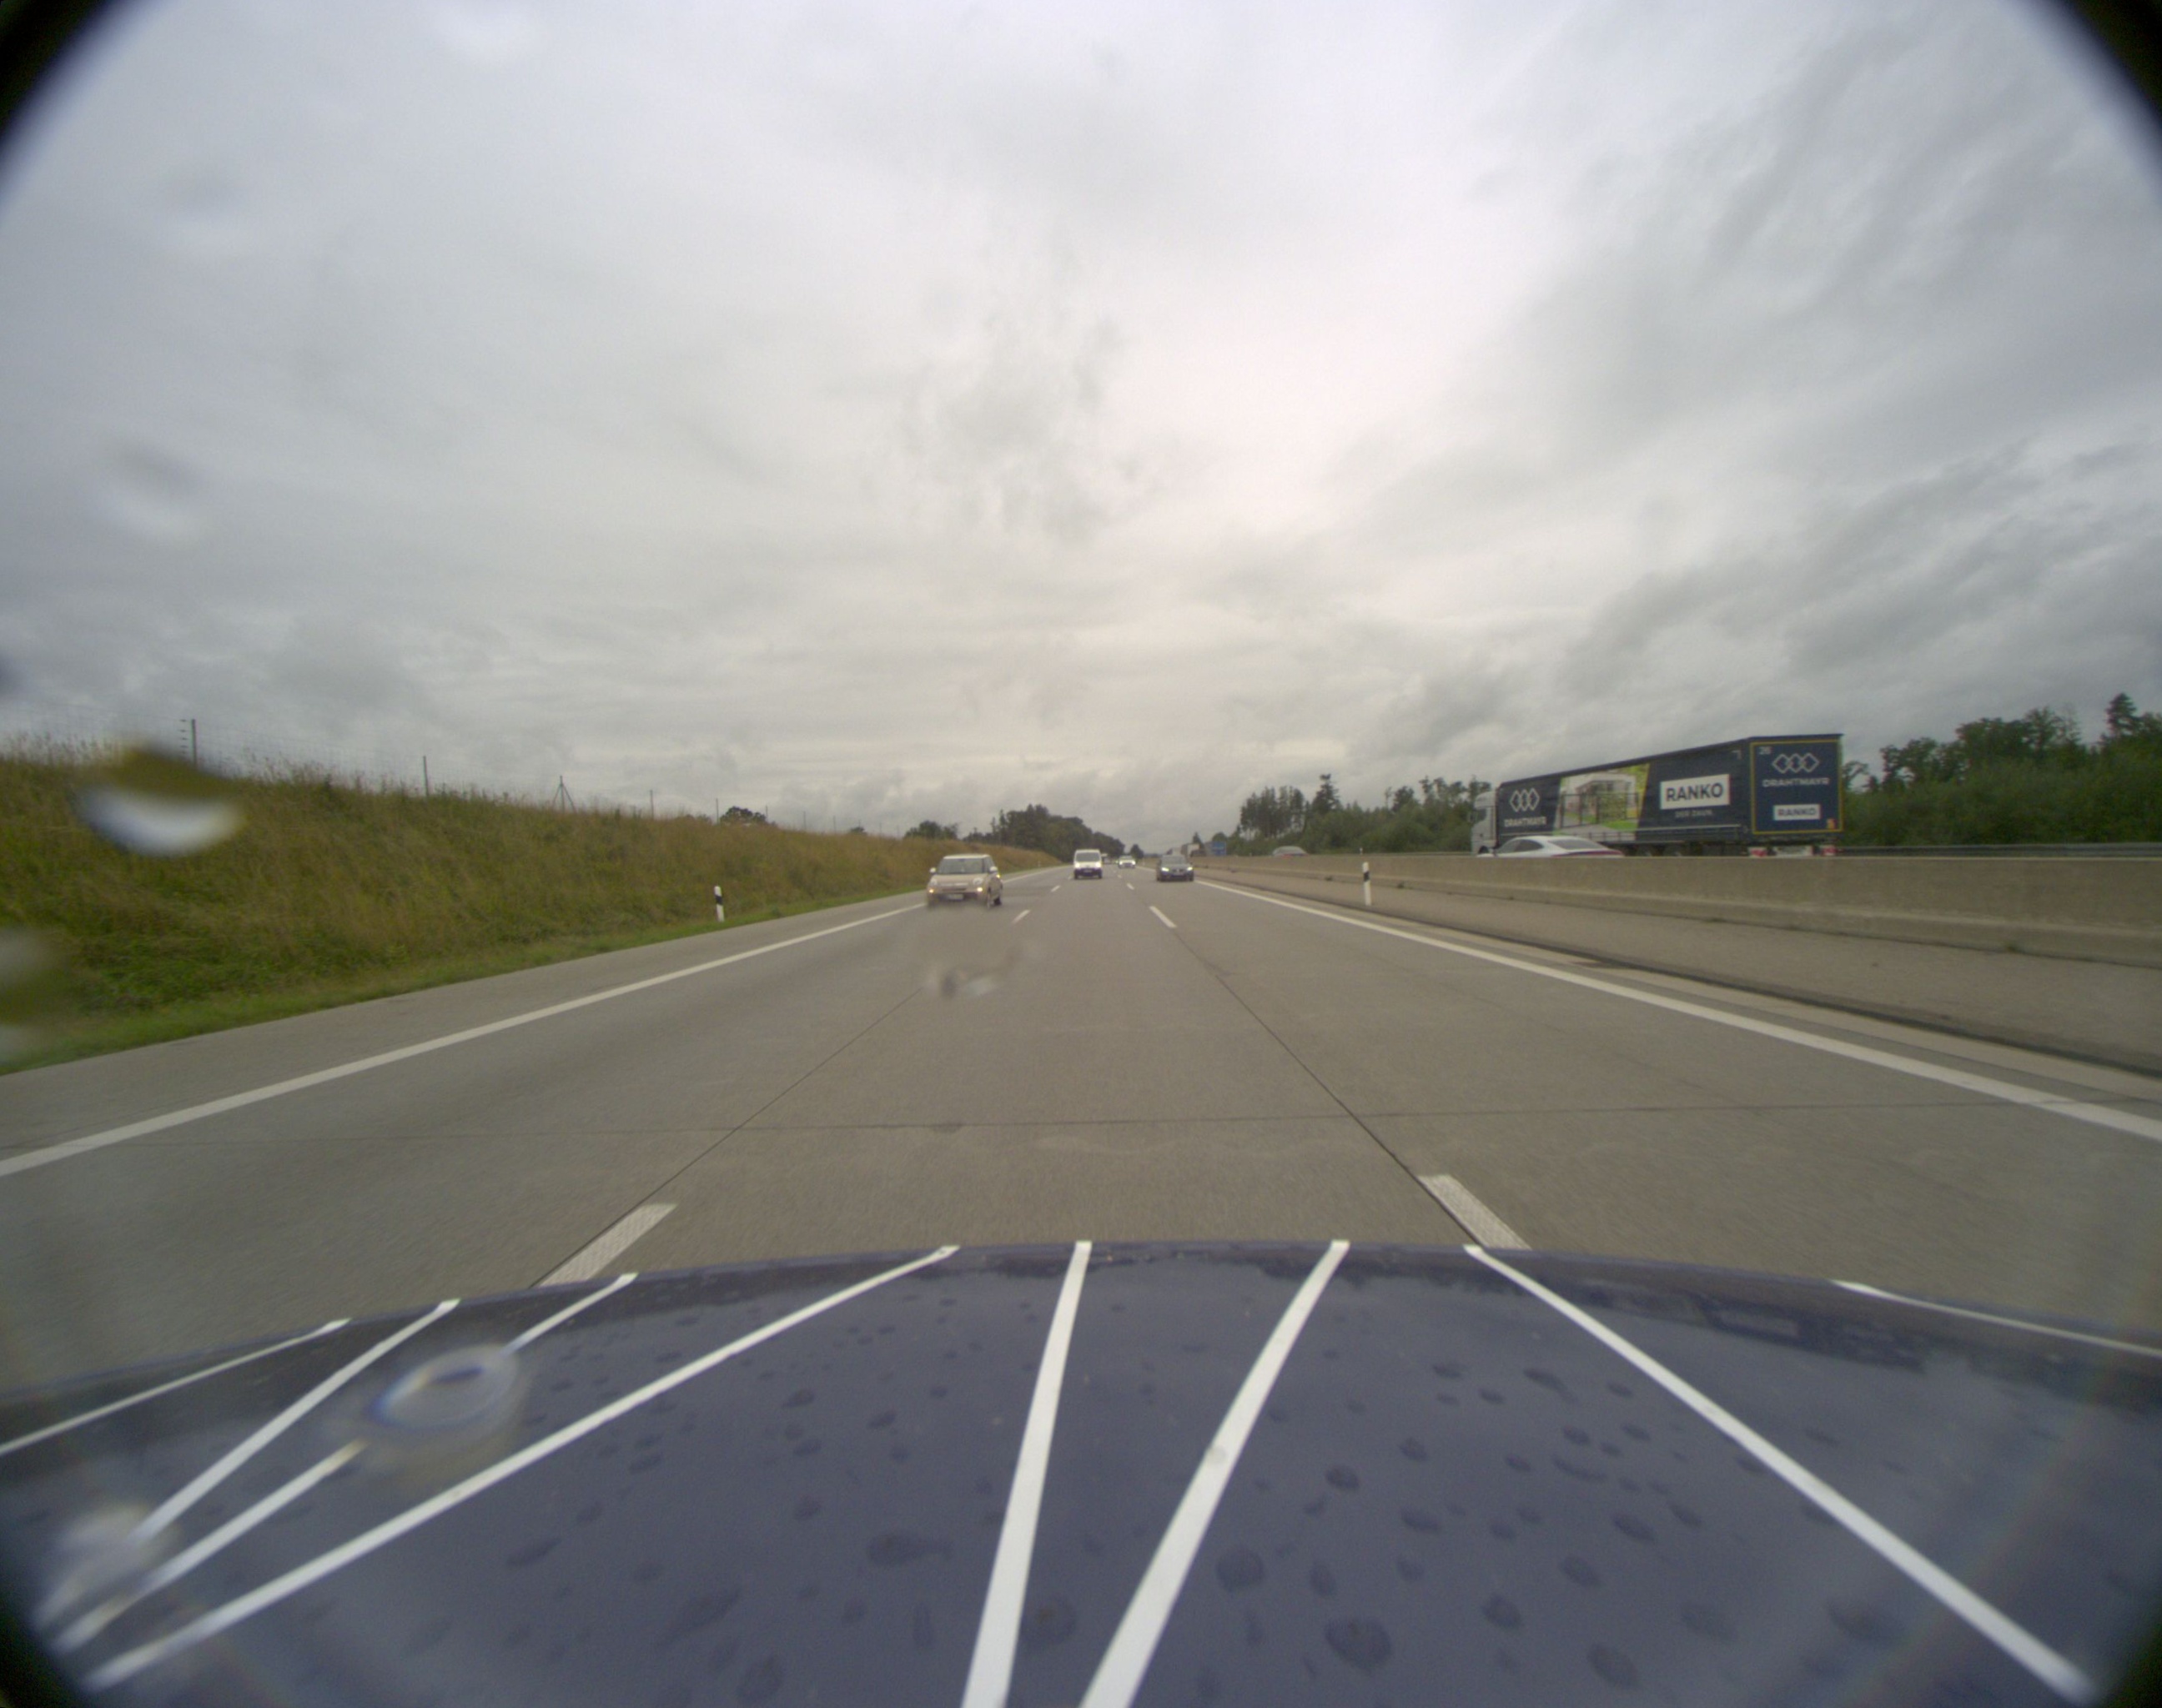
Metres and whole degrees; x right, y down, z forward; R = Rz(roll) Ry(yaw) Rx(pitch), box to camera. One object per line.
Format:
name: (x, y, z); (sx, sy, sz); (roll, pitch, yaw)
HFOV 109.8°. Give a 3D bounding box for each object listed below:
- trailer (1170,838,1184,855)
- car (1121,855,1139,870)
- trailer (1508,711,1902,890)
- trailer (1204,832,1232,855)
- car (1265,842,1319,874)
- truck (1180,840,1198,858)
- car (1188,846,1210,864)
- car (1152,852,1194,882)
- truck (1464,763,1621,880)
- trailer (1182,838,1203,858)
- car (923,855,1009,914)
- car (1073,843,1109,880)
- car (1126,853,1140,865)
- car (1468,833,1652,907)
trailer: (27.488, -2.066, 218.362); (2.923, 4.598, 13.640); (-2, 0, 3)
car: (5.973, 1.038, 92.004); (2.030, 1.669, 4.320); (-2, 0, 4)
trailer: (20.681, -1.426, 27.225); (3.607, 4.771, 12.909); (-2, 0, 1)
trailer: (23.717, -1.716, 132.203); (2.856, 3.814, 12.401); (-2, 0, 2)
car: (12.613, 0.235, 45.708); (1.998, 1.728, 4.527); (-2, 0, 1)
truck: (25.640, -1.184, 181.145); (3.478, 4.157, 6.494); (-2, 0, 3)
car: (14.747, 0.119, 95.290); (1.998, 2.134, 4.864); (-2, 0, 2)
car: (4.974, 0.688, 41.486); (1.789, 1.472, 4.571); (-2, 0, 1)
truck: (20.862, -1.355, 34.878); (3.596, 4.790, 5.869); (-2, 0, 1)
trailer: (25.218, -1.254, 172.255); (3.491, 4.177, 12.931); (-2, 0, 3)
car: (-3.409, 0.858, 23.328); (1.789, 1.595, 4.571); (-2, 0, 1)
car: (0.677, 0.428, 47.680); (2.042, 2.111, 6.069); (-2, 0, 2)
car: (7.597, 0.684, 110.910); (1.885, 1.669, 4.319); (-2, 0, 2)
car: (12.268, 0.379, 19.903); (1.998, 1.652, 4.527); (-2, 0, 1)
